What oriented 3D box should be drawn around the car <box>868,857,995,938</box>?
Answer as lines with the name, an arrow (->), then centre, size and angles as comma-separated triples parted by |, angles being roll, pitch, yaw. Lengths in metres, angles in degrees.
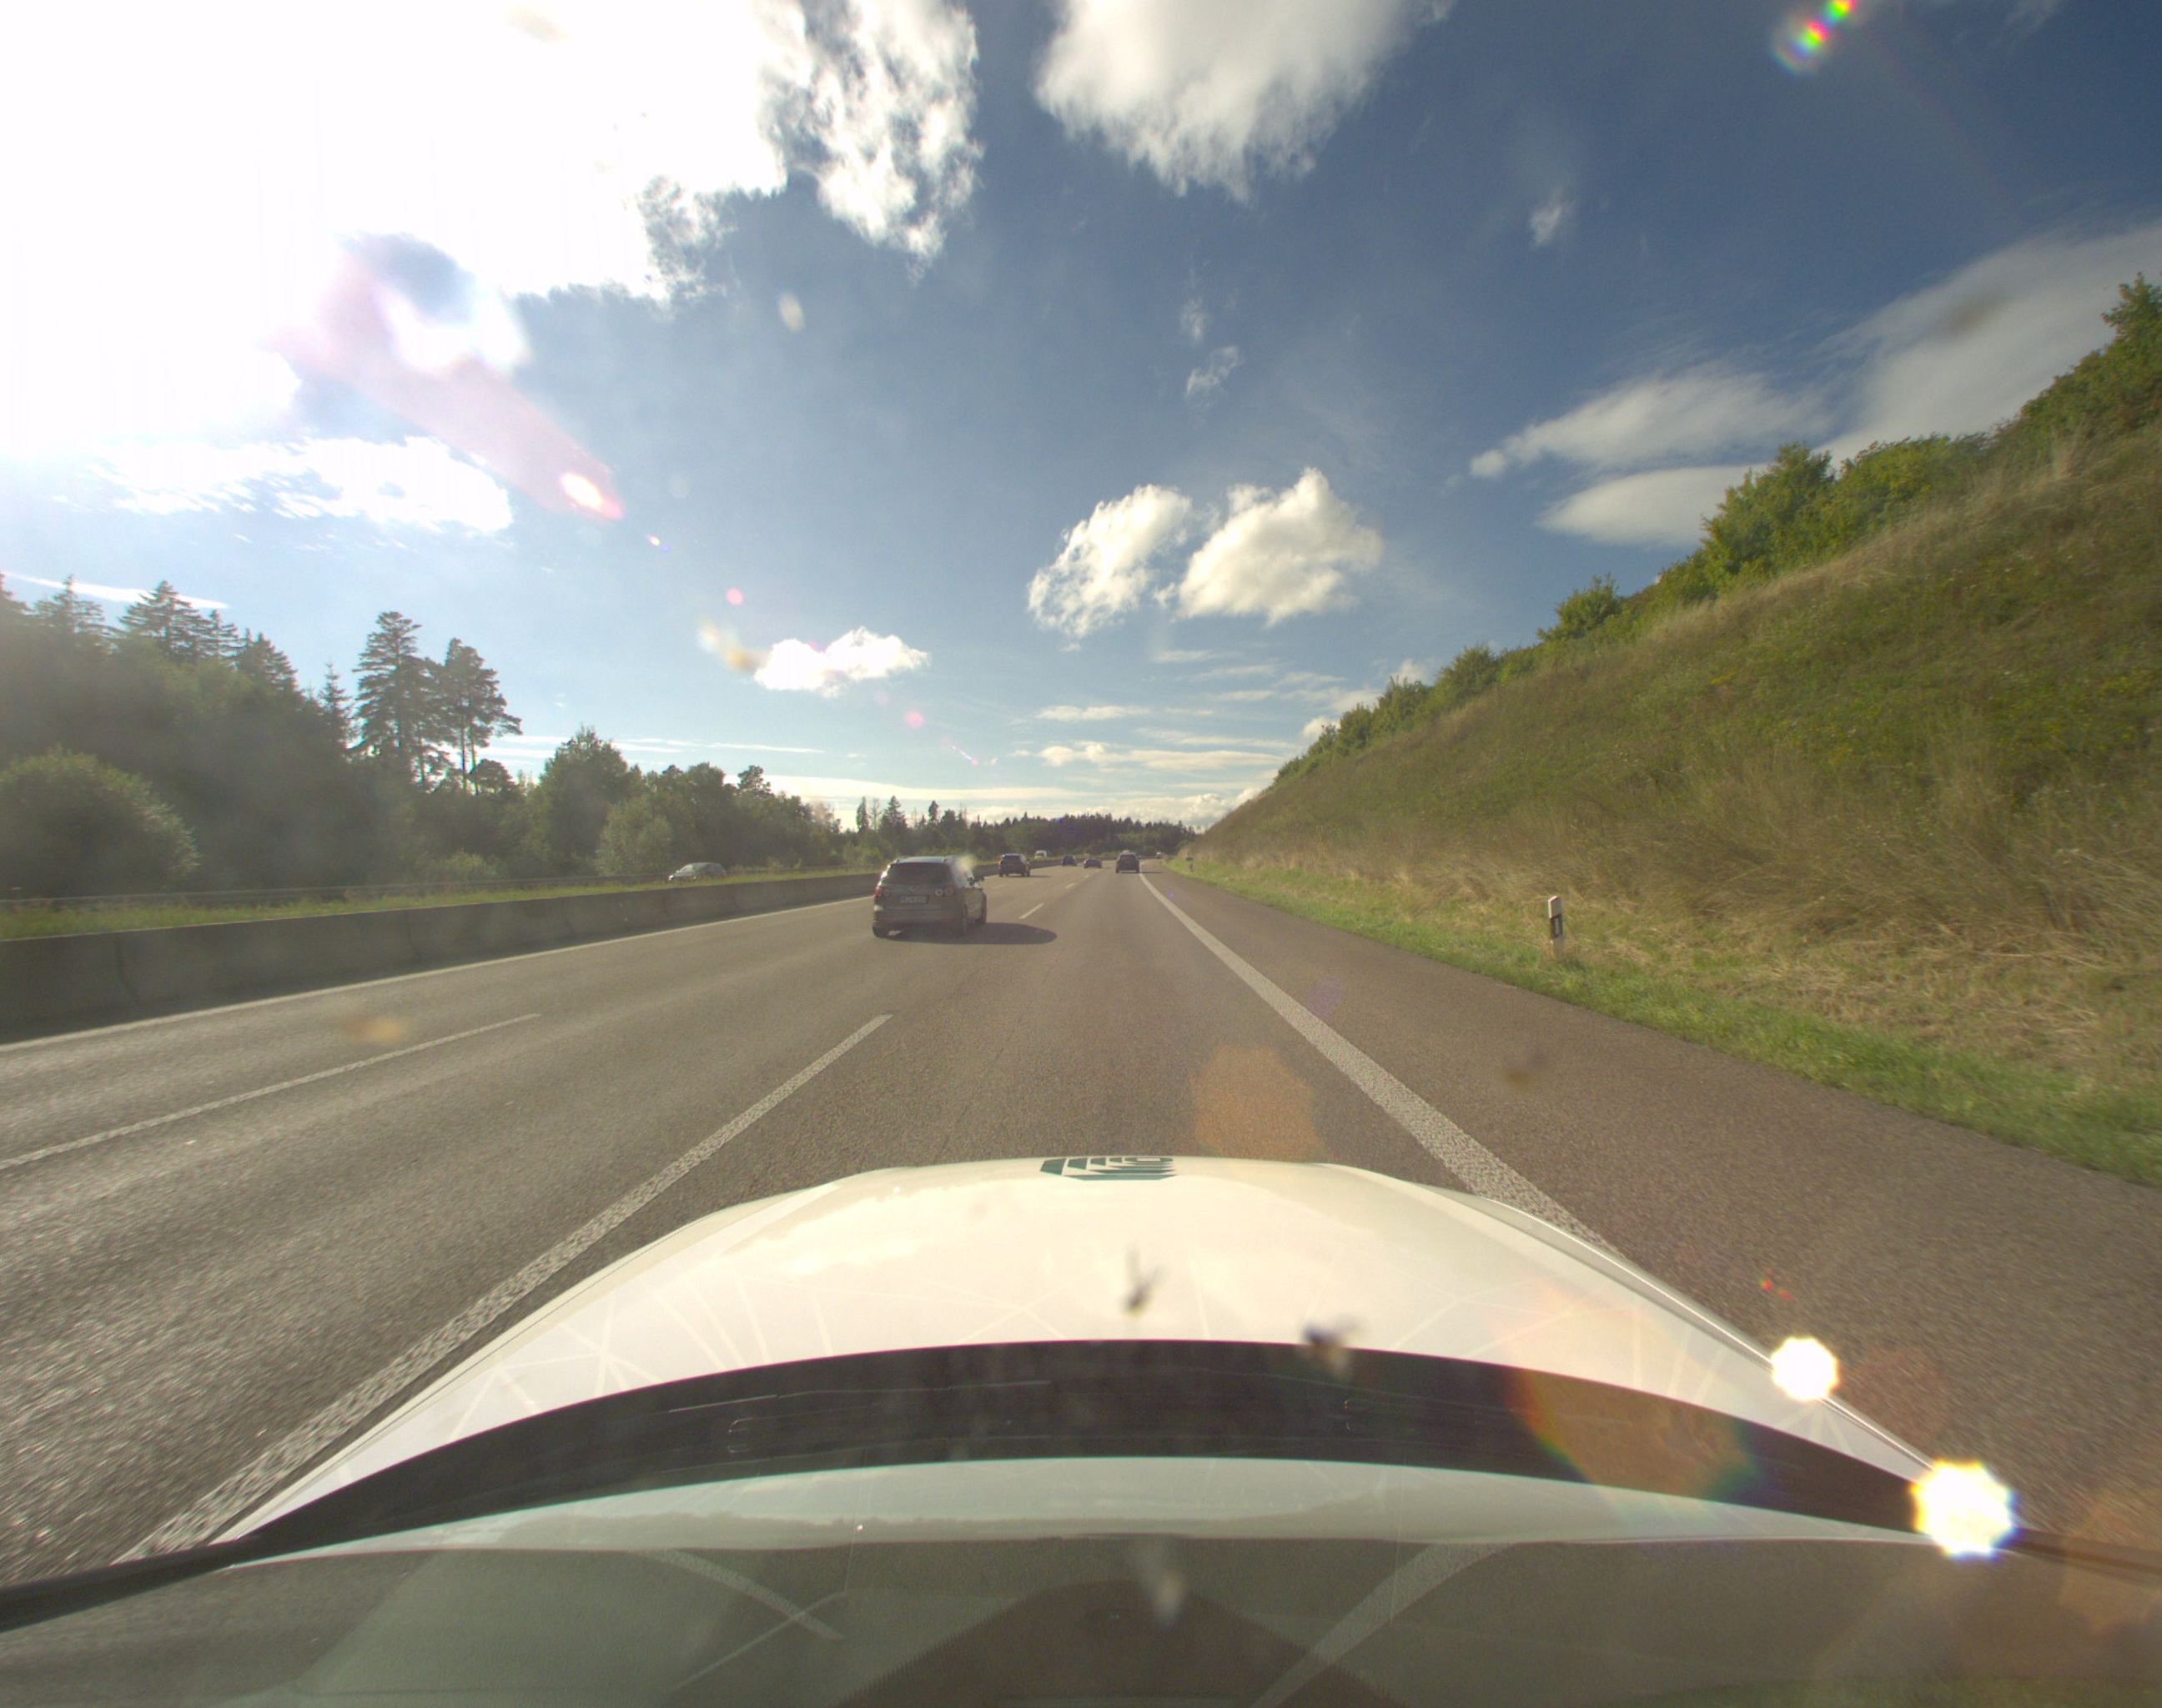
car -> -3.023, 0.832, 17.292 | 1.867, 1.497, 3.881 | -1, 0, 1

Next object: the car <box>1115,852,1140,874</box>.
car -> 3.751, 0.725, 66.191 | 1.866, 1.675, 3.892 | -1, 0, 2

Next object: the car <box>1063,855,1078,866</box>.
car -> -1.429, 0.850, 108.629 | 1.867, 1.497, 3.881 | -1, 0, 1

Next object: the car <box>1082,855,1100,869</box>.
car -> 1.140, 0.867, 91.120 | 1.867, 1.497, 3.881 | -1, 0, 1

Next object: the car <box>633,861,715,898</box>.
car -> -20.785, 1.263, 41.780 | 1.986, 1.747, 4.052 | -1, 0, 2

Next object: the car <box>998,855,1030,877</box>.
car -> -4.799, 0.842, 58.543 | 1.867, 1.497, 3.881 | -1, 0, 1
